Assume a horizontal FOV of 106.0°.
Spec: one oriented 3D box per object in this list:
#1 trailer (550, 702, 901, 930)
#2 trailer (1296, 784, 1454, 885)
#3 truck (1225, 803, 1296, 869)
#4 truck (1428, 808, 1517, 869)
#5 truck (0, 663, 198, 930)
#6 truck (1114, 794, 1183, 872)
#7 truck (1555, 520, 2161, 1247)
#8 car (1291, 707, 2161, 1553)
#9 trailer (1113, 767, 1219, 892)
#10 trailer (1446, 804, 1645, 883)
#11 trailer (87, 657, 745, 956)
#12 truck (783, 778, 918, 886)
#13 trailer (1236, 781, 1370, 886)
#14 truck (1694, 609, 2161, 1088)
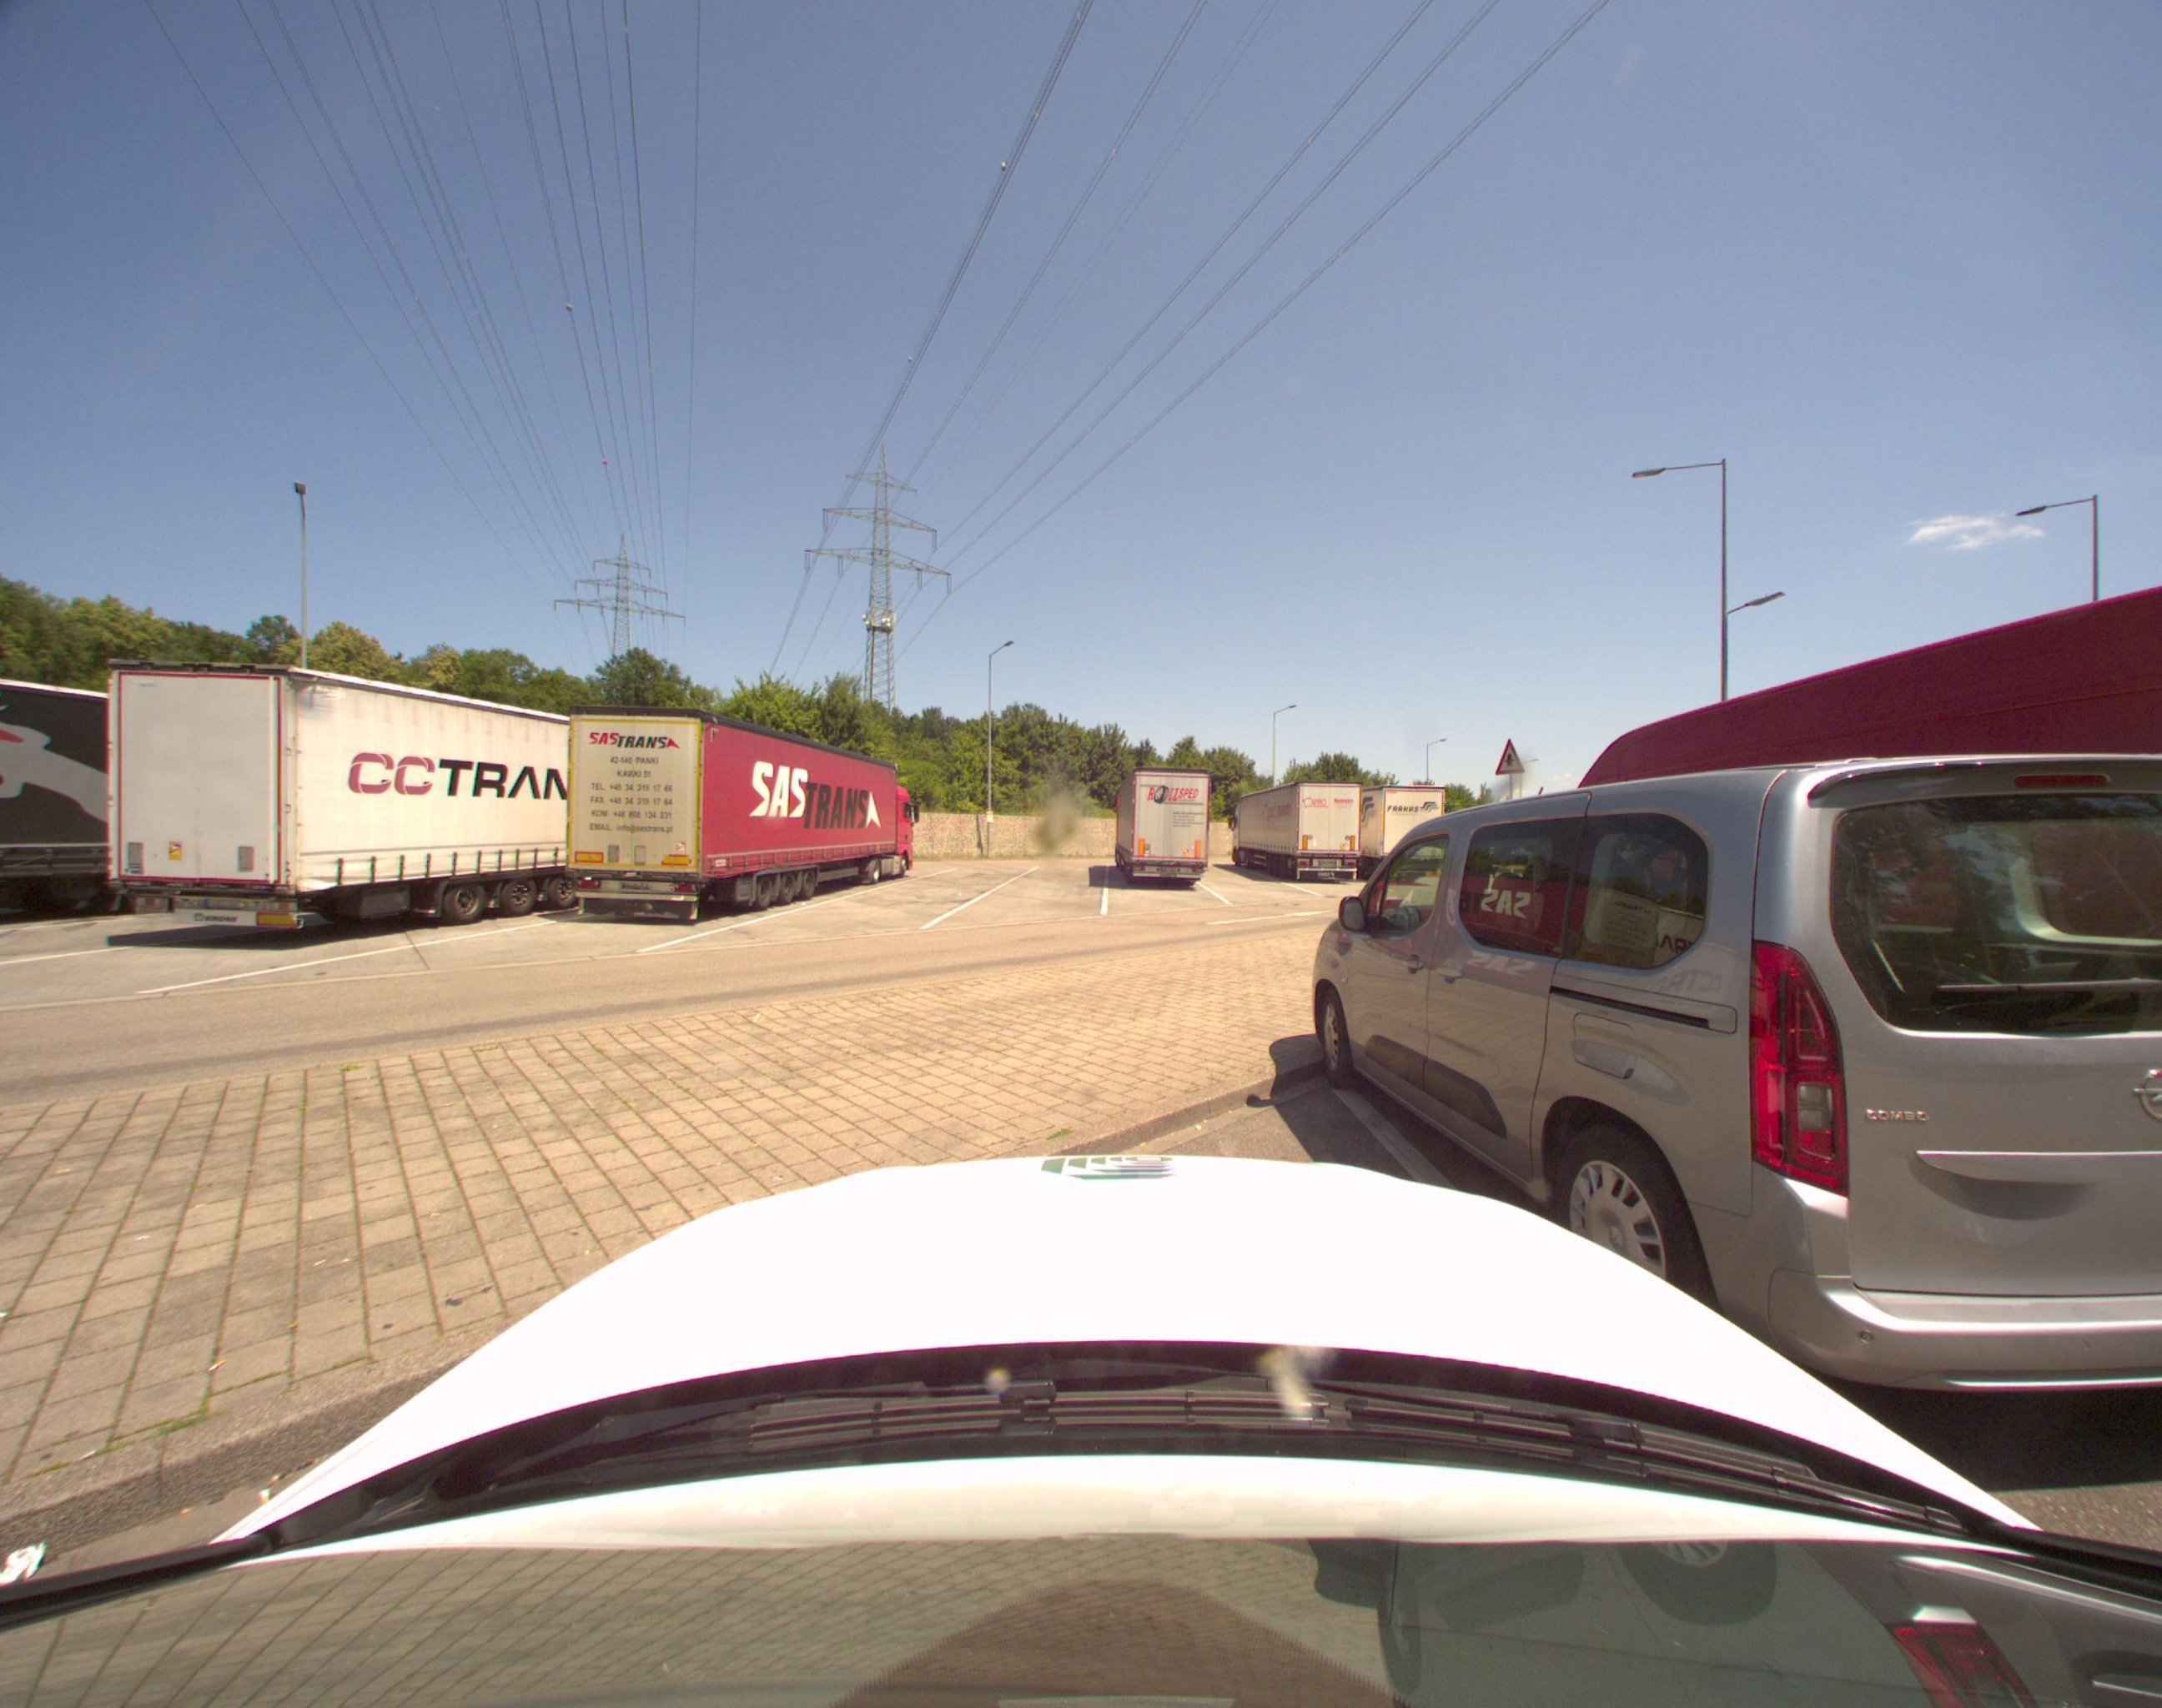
[{"bbox_3d":[-8.071,-0.944,21.912,2.781,4.084,14.139,1,2,2],"label":"trailer"},{"bbox_3d":[13.595,-1.031,39.614,2.801,3.989,14.403,1,2,2],"label":"trailer"},{"bbox_3d":[10.184,-1.071,46.752,2.852,3.521,5.903,1,2,2],"label":"truck"},{"bbox_3d":[24.349,-1.000,50.992,2.792,3.521,5.903,1,2,2],"label":"truck"},{"bbox_3d":[-18.547,-0.967,13.791,2.726,4.239,3.997,1,2,2],"label":"truck"},{"bbox_3d":[3.222,-1.077,40.596,3.092,3.566,5.903,1,2,2],"label":"truck"},{"bbox_3d":[5.128,0.126,4.914,1.968,2.622,5.314,0,-1,7],"label":"truck"},{"bbox_3d":[2.482,0.580,3.890,1.864,1.863,4.176,1,1,0],"label":"car"},{"bbox_3d":[3.056,-1.061,33.702,3.122,3.989,14.401,1,2,1],"label":"trailer"},{"bbox_3d":[24.092,-0.728,43.761,2.801,3.507,14.403,1,2,2],"label":"trailer"},{"bbox_3d":[-12.135,-0.908,18.343,2.785,4.084,14.139,1,2,2],"label":"trailer"},{"bbox_3d":[-7.823,-0.782,28.482,2.840,3.327,5.903,1,2,2],"label":"truck"},{"bbox_3d":[9.922,-1.041,38.651,2.801,3.989,14.403,1,2,2],"label":"trailer"},{"bbox_3d":[7.984,-0.030,6.462,2.444,2.912,5.663,-1,-1,7],"label":"truck"}]
